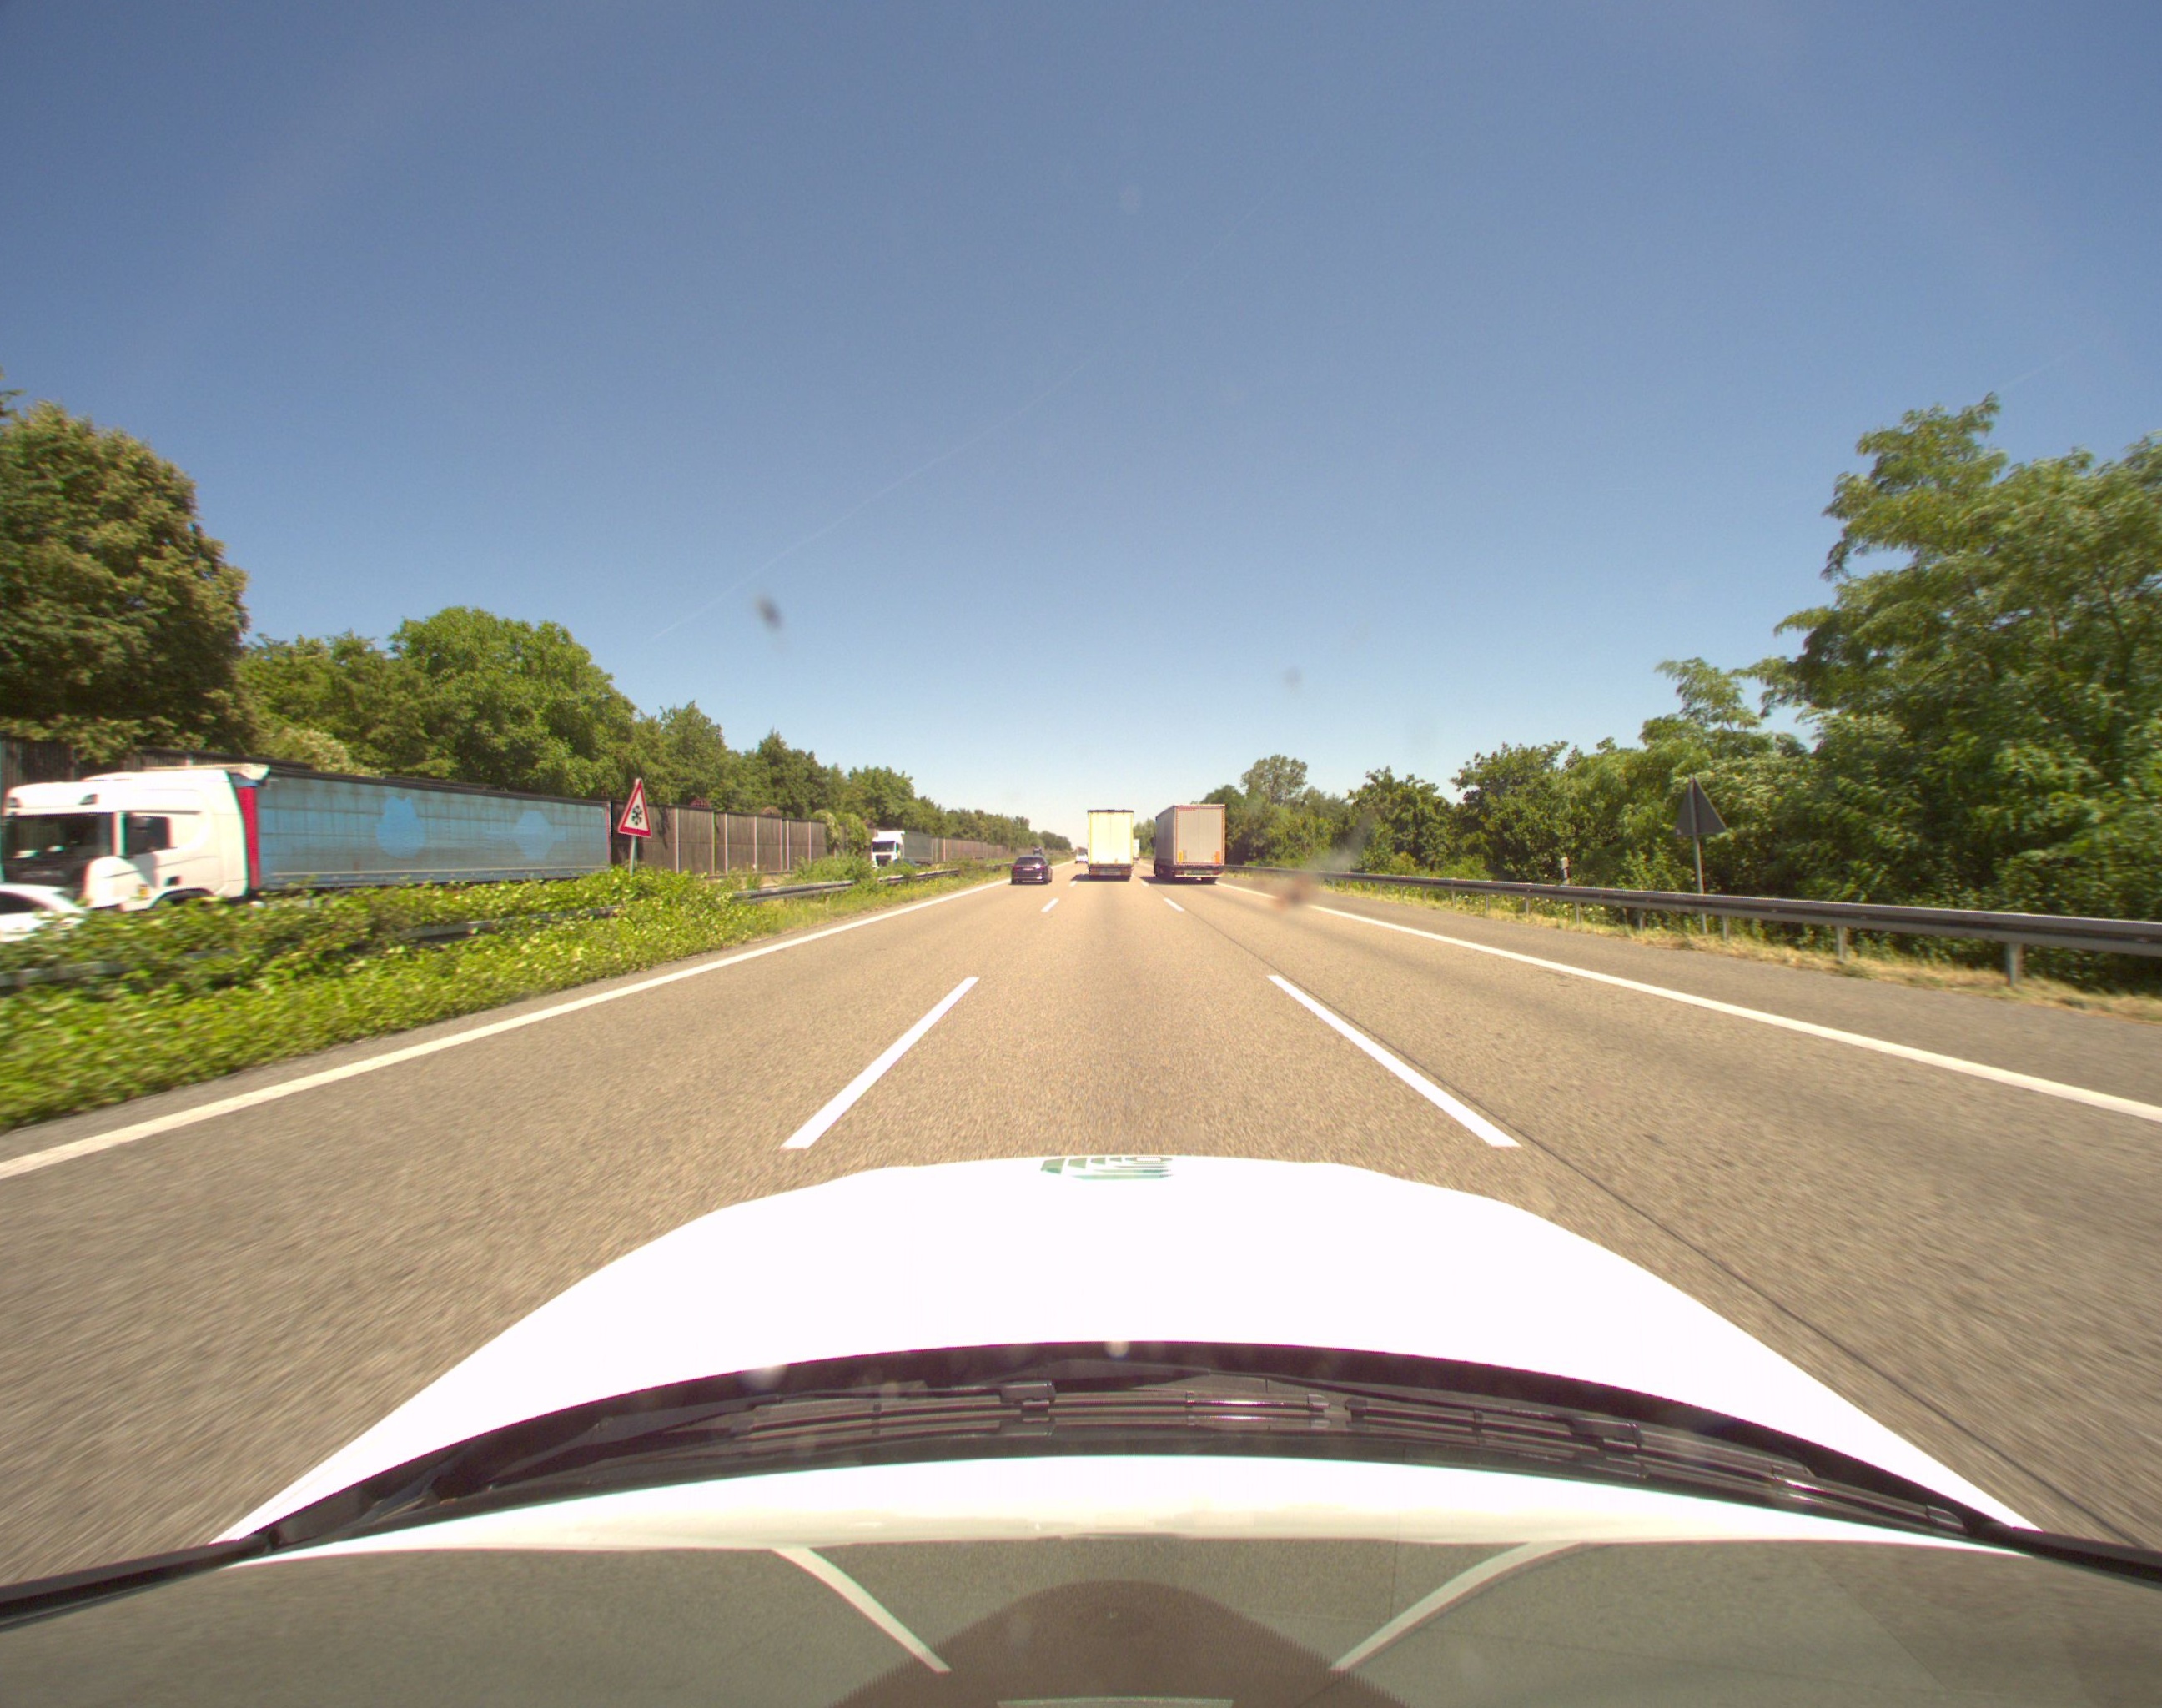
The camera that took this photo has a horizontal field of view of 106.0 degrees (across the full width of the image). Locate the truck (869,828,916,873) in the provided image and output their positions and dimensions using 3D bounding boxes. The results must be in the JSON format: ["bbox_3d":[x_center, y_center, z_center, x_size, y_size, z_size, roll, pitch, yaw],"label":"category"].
[{"bbox_3d":[-18.646,-0.340,80.887,2.823,4.183,7.143,-1,0,1],"label":"truck"}]

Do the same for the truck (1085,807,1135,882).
[{"bbox_3d":[1.742,-0.512,51.809,2.697,4.085,13.476,-1,0,1],"label":"truck"}]

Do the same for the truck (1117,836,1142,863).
[{"bbox_3d":[8.259,-0.794,139.562,3.364,4.303,11.445,1,0,-1],"label":"truck"}]

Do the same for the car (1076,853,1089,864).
[{"bbox_3d":[0.184,0.679,119.781,1.849,1.486,4.000,-2,0,1],"label":"car"}]

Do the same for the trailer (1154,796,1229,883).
[{"bbox_3d":[6.013,-0.697,46.709,2.694,4.216,13.214,-1,0,1],"label":"trailer"}]

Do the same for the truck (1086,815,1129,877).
[{"bbox_3d":[1.827,-0.514,57.357,2.718,4.085,7.278,-1,0,1],"label":"truck"}]

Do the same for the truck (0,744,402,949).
[{"bbox_3d":[-20.541,-0.136,19.511,2.748,4.022,6.735,-1,0,1],"label":"truck"}]

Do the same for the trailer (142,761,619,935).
[{"bbox_3d":[-20.417,-0.118,26.167,2.725,4.022,14.308,-1,0,1],"label":"trailer"}]

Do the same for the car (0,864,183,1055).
[{"bbox_3d":[-12.634,1.150,8.043,1.986,2.013,4.897,0,0,2],"label":"car"}]

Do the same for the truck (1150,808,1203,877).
[{"bbox_3d":[6.148,-0.691,53.702,2.682,4.215,7.839,-1,0,1],"label":"truck"}]

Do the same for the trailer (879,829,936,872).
[{"bbox_3d":[-18.475,-0.320,87.870,2.899,4.183,13.314,-1,0,1],"label":"trailer"}]

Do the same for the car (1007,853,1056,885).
[{"bbox_3d":[-2.505,0.740,42.924,1.936,1.506,5.825,-2,0,3],"label":"car"}]

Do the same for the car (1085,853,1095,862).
[{"bbox_3d":[1.777,0.629,158.047,1.849,1.617,4.000,-2,0,0],"label":"car"}]
